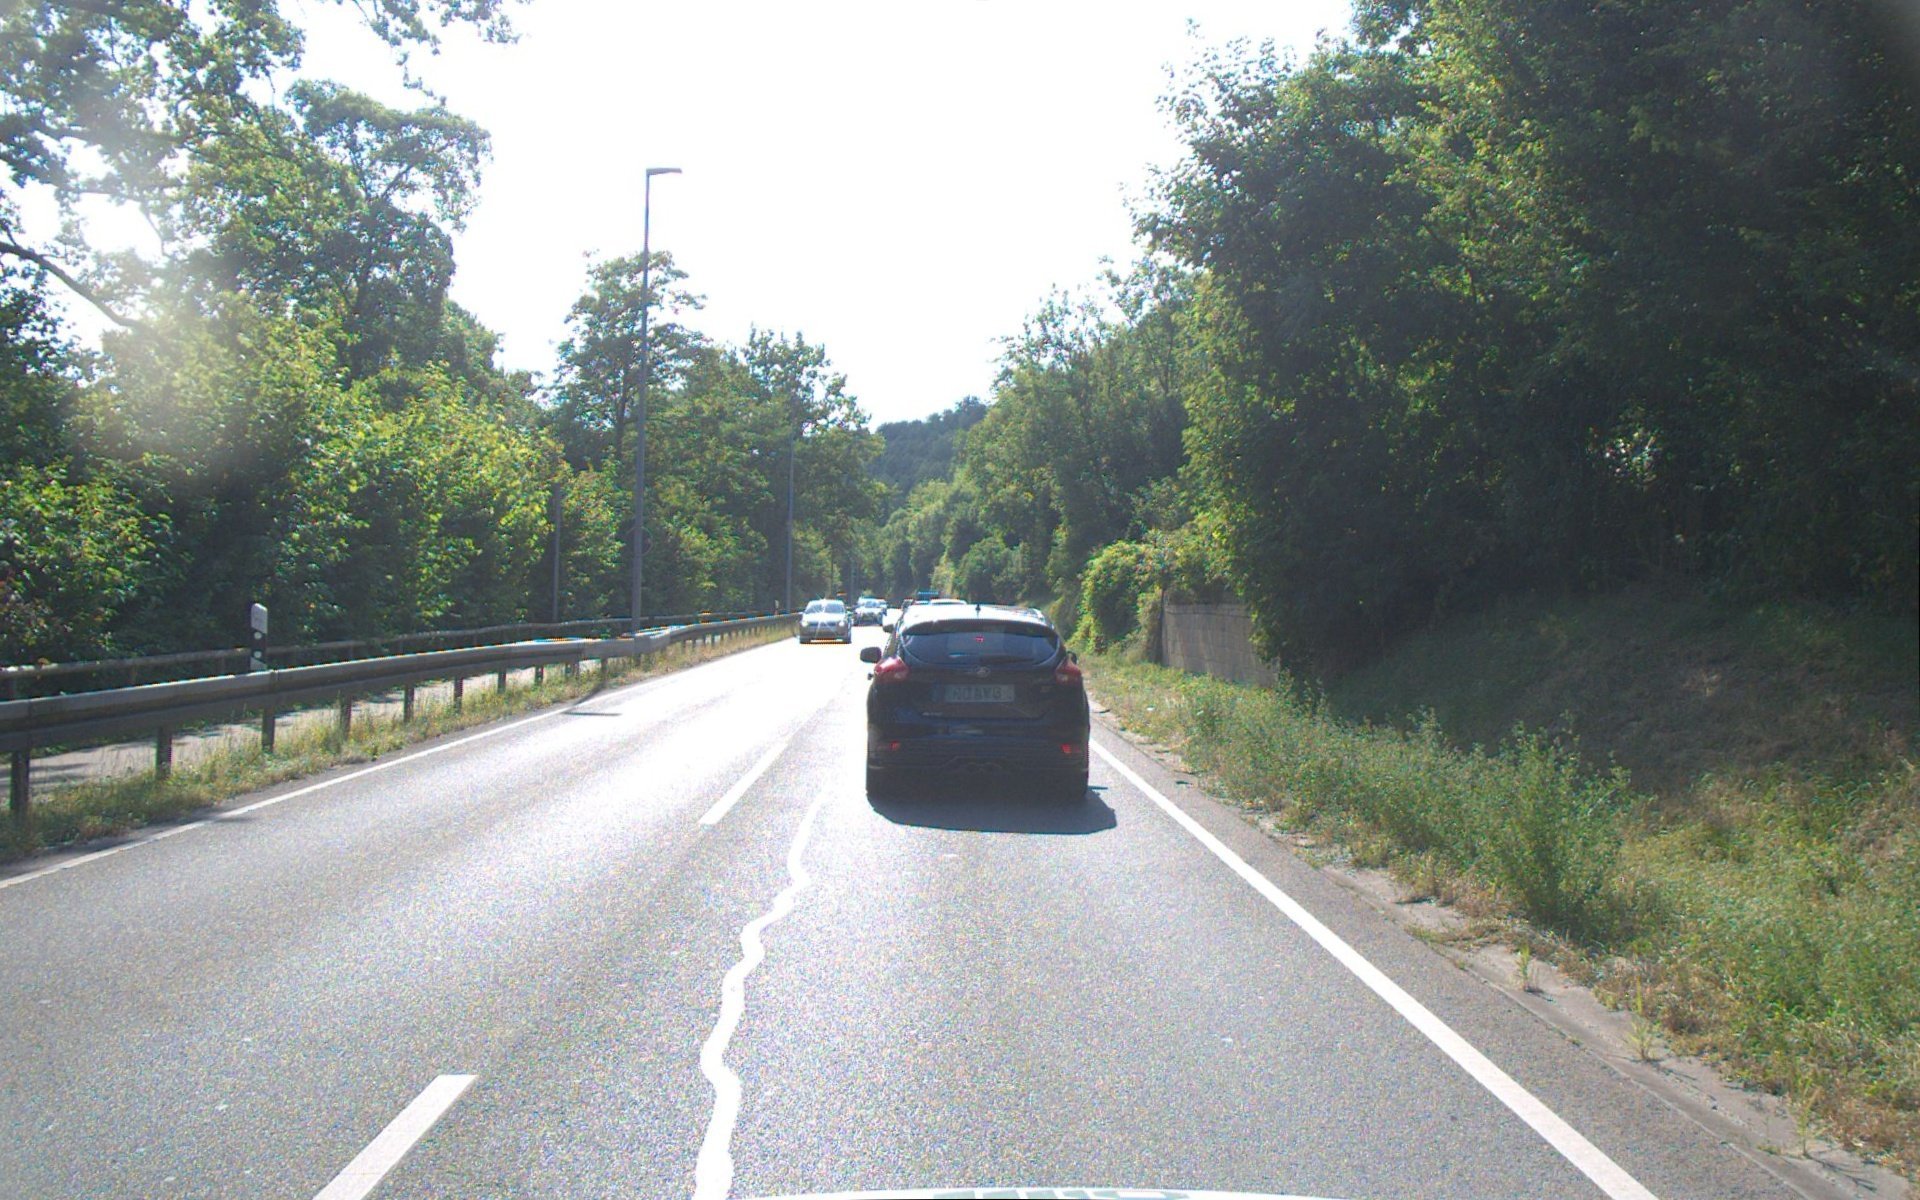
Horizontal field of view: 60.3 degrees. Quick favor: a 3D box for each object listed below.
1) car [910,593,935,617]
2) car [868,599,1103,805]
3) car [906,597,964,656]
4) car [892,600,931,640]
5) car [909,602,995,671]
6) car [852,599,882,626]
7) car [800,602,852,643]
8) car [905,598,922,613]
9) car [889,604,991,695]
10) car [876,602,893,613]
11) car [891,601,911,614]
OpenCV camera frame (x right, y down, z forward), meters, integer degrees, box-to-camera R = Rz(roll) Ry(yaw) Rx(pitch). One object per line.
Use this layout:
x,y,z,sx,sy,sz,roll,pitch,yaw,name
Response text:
-2.819,0.360,124.254,1.825,1.812,3.998,0,0,-2,car
0.155,0.758,14.099,1.704,1.482,3.999,1,0,-1,car
-0.733,0.741,48.147,1.597,1.624,3.999,0,0,-1,car
-2.028,0.819,69.967,1.597,1.624,3.999,0,0,-1,car
-0.201,0.769,36.460,1.768,1.416,3.999,0,0,-1,car
-5.398,0.726,96.534,1.647,1.489,4.196,1,0,-2,car
-4.714,0.765,58.463,1.590,1.401,4.046,0,0,-2,car
-4.906,0.621,175.486,1.782,1.545,3.999,0,0,-1,car
-0.301,0.795,28.548,1.627,1.443,4.000,1,0,0,car
-10.533,1.003,230.666,1.957,1.545,3.990,1,0,-10,car
-7.154,0.962,201.203,1.956,1.545,3.992,1,0,-8,car
